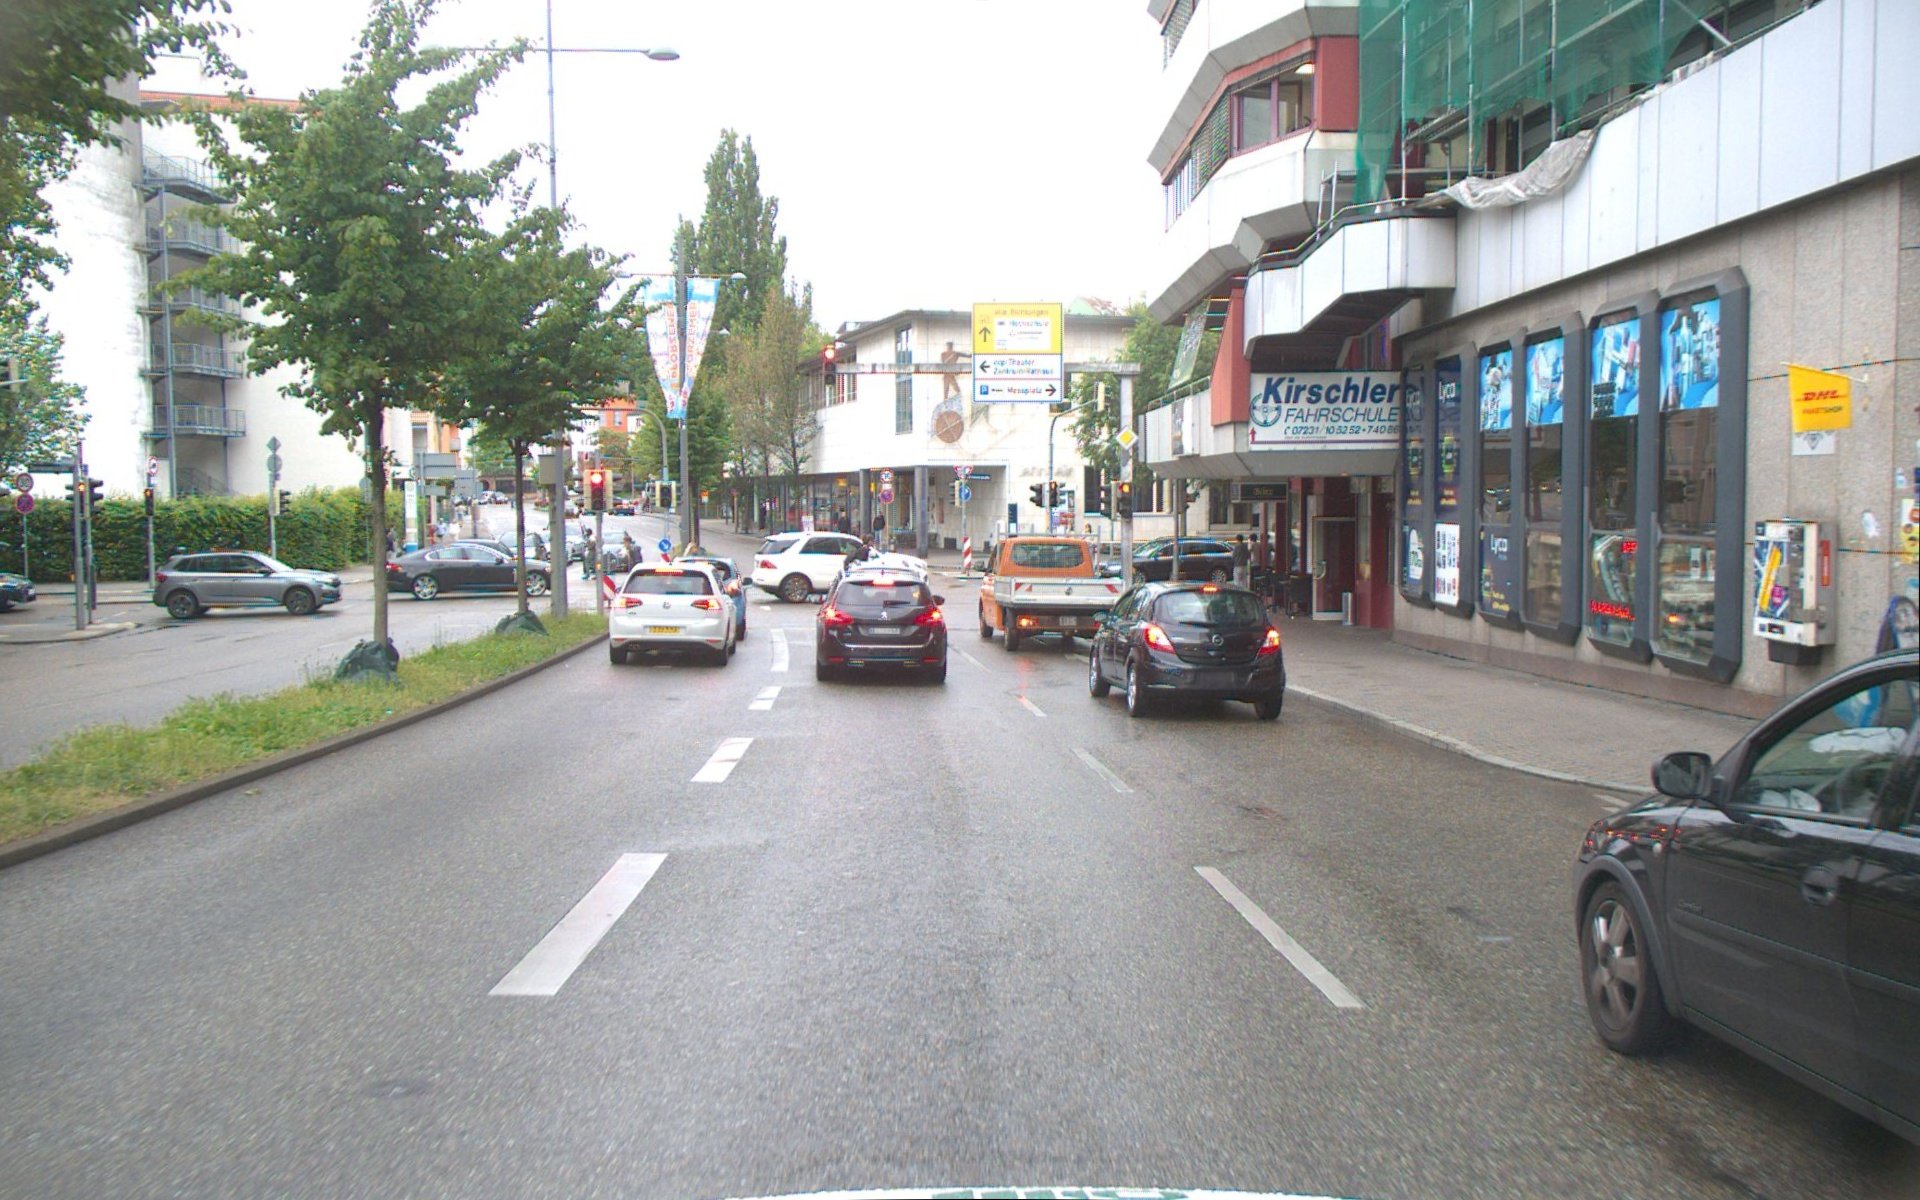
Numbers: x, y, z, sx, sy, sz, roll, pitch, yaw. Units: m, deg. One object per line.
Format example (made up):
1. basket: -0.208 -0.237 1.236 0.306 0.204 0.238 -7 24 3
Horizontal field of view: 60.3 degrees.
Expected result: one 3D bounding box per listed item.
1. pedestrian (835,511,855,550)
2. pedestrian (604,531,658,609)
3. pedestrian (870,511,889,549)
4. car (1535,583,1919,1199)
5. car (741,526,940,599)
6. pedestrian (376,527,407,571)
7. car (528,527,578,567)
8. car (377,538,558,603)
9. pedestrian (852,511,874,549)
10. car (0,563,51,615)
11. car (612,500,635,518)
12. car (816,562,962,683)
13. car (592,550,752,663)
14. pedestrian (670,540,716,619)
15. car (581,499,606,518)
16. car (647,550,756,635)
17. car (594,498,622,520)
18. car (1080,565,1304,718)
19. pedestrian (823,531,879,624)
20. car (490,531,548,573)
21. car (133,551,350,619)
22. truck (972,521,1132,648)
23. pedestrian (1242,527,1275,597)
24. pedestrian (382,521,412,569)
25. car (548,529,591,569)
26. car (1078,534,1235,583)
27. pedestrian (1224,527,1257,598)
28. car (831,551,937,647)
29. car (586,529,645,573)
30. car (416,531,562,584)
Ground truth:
1. pedestrian: -5.610 -3.395 80.730 0.785 1.834 0.913 -2 1 -17
2. pedestrian: -7.534 -0.686 37.939 0.989 1.752 0.839 -1 1 2
3. pedestrian: -3.953 -3.421 81.045 0.691 1.834 0.934 -2 1 -17
4. car: 2.994 0.692 4.233 1.682 1.445 3.769 0 1 -1
5. car: -3.179 -0.969 43.705 4.986 1.789 1.993 1 1 -15
6. pedestrian: -21.698 -1.951 63.110 0.919 1.636 0.555 -2 1 -43
7. car: -16.675 -2.152 67.887 1.746 1.576 3.990 0 1 -11
8. car: -13.480 -0.790 45.279 4.616 1.672 1.775 1 1 -22
9. pedestrian: -4.724 -3.402 80.613 0.833 1.834 1.051 -2 1 -17
10. car: -25.759 -0.324 41.444 4.913 1.294 1.758 1 1 -15
11. car: -32.476 -8.772 159.587 1.802 1.616 3.857 0 1 -16
12. car: -1.079 0.248 23.180 1.777 1.466 3.996 1 2 -6
13. car: -4.349 0.052 25.546 1.911 1.601 3.999 0 1 -2
14. pedestrian: -6.006 -0.468 37.268 0.818 1.752 0.819 -1 1 4
15. car: -35.012 -8.731 157.826 1.962 1.623 3.981 0 1 -18
16. car: -4.823 -0.189 31.320 1.759 1.493 3.996 0 2 -5
17. car: -35.416 -9.137 166.407 1.968 2.048 3.969 -1 1 -25
18. car: 2.590 0.392 19.414 1.911 1.601 3.998 0 1 -3
19. pedestrian: -2.320 -0.484 35.214 1.040 1.914 0.839 -1 1 4
20. car: -16.033 -1.742 60.267 1.675 1.476 3.853 0 1 -9
21. car: -17.266 -0.355 39.952 4.514 1.508 1.935 1 1 -15
22. truck: 1.560 -0.321 30.381 2.141 2.119 5.598 0 1 -5
23. pedestrian: 7.492 -0.952 41.518 0.566 1.729 0.648 -2 1 -16
24. pedestrian: -21.998 -2.160 64.601 0.898 1.834 0.618 -2 1 -43
25. car: -17.590 -2.282 74.561 1.675 1.750 3.990 0 1 -11
26. car: 5.951 -1.247 50.139 4.328 1.462 1.991 0 1 -17
27. pedestrian: 6.937 -0.921 40.913 0.565 1.729 0.649 -2 1 -12
28. car: -1.420 -0.079 29.555 1.726 1.569 3.997 0 2 -5
29. car: -12.760 -1.820 61.383 1.785 1.576 3.995 0 1 -7
30. car: -14.012 -1.263 49.353 3.910 1.554 1.845 0 1 -6
